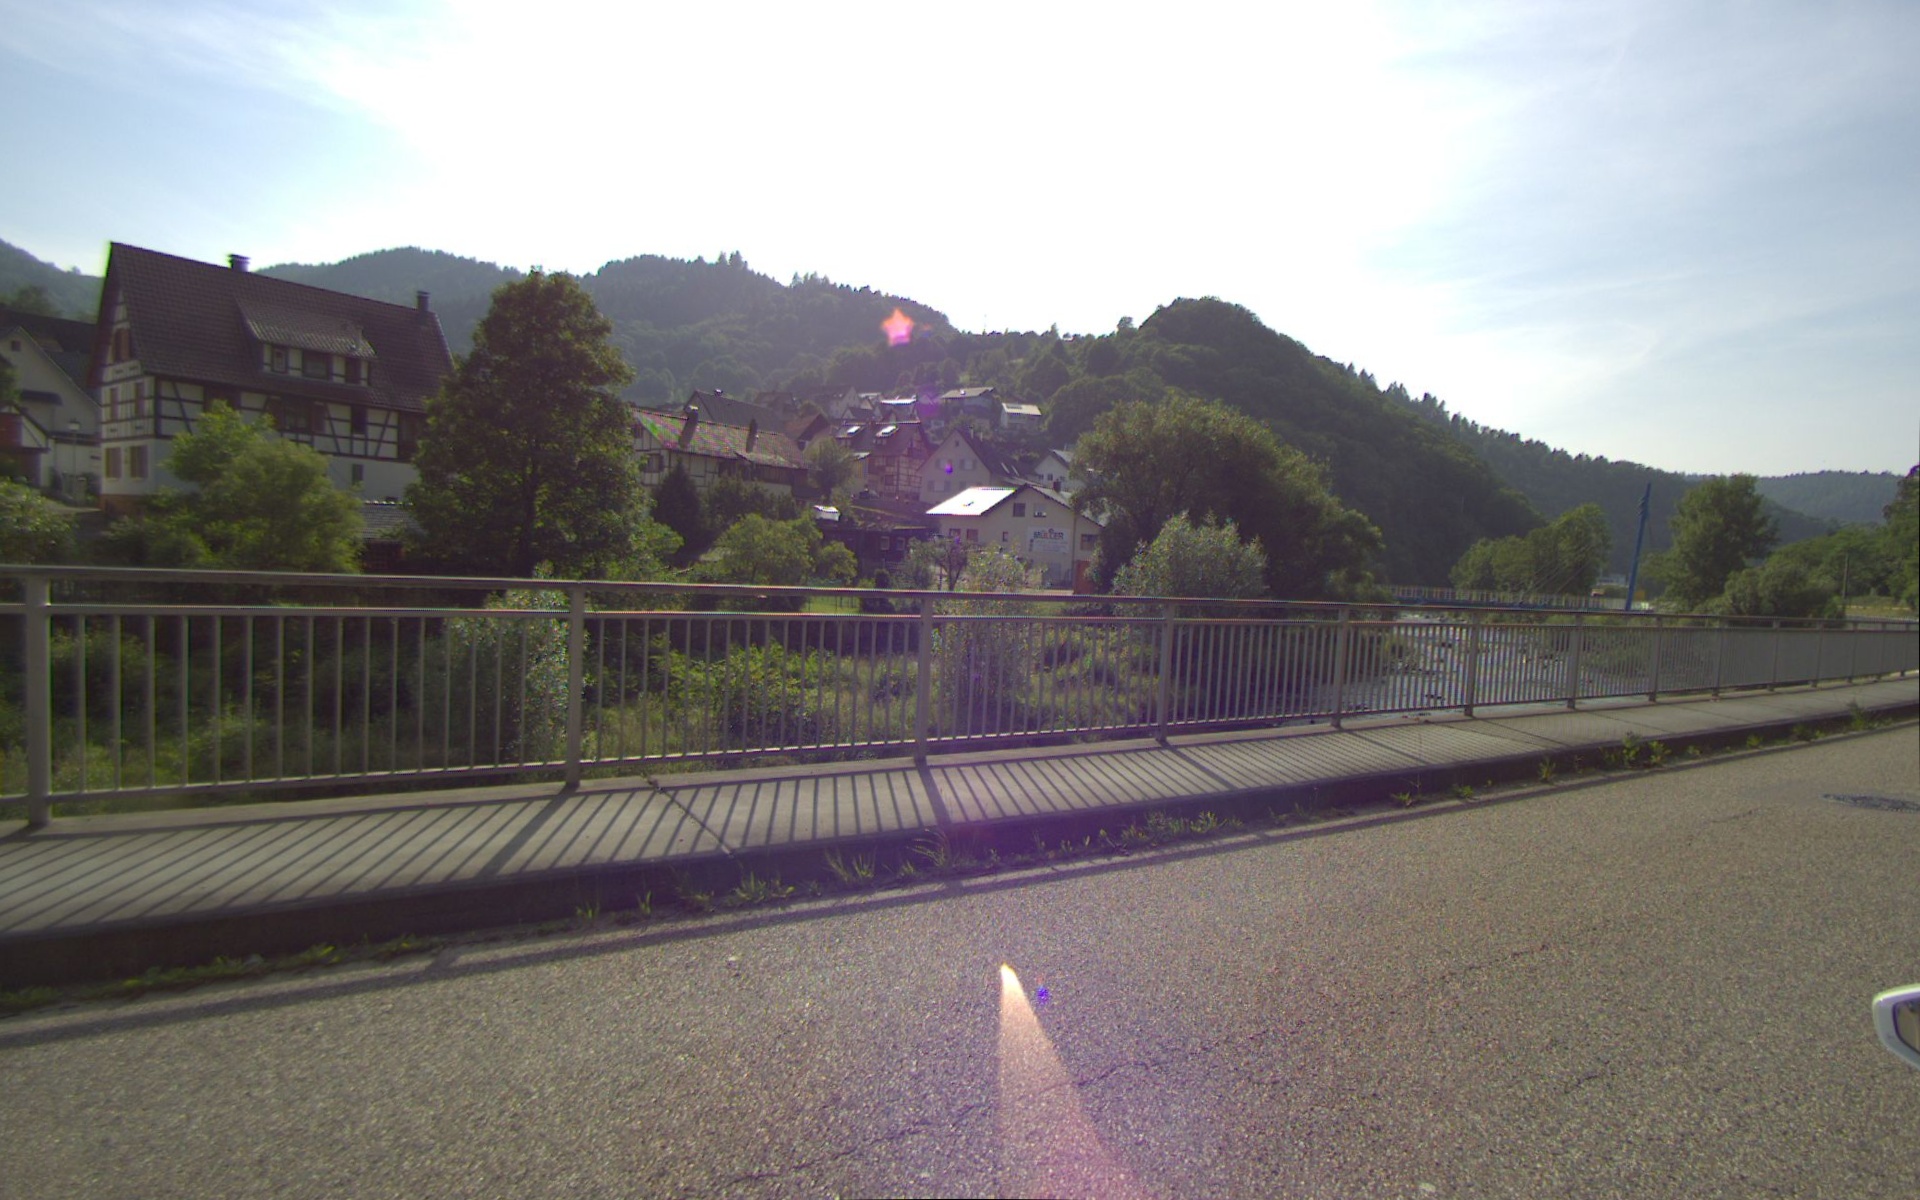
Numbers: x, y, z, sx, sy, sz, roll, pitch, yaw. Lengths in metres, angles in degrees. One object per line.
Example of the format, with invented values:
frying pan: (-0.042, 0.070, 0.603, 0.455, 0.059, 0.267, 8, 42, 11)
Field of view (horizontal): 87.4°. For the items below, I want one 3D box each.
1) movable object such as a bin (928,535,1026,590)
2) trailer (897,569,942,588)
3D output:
movable object such as a bin: (1.456, -3.283, 88.564, 8.015, 3.256, 3.548, 10, 1, -4)
trailer: (-3.072, -1.633, 76.725, 1.862, 1.327, 3.695, 1, 0, 27)
